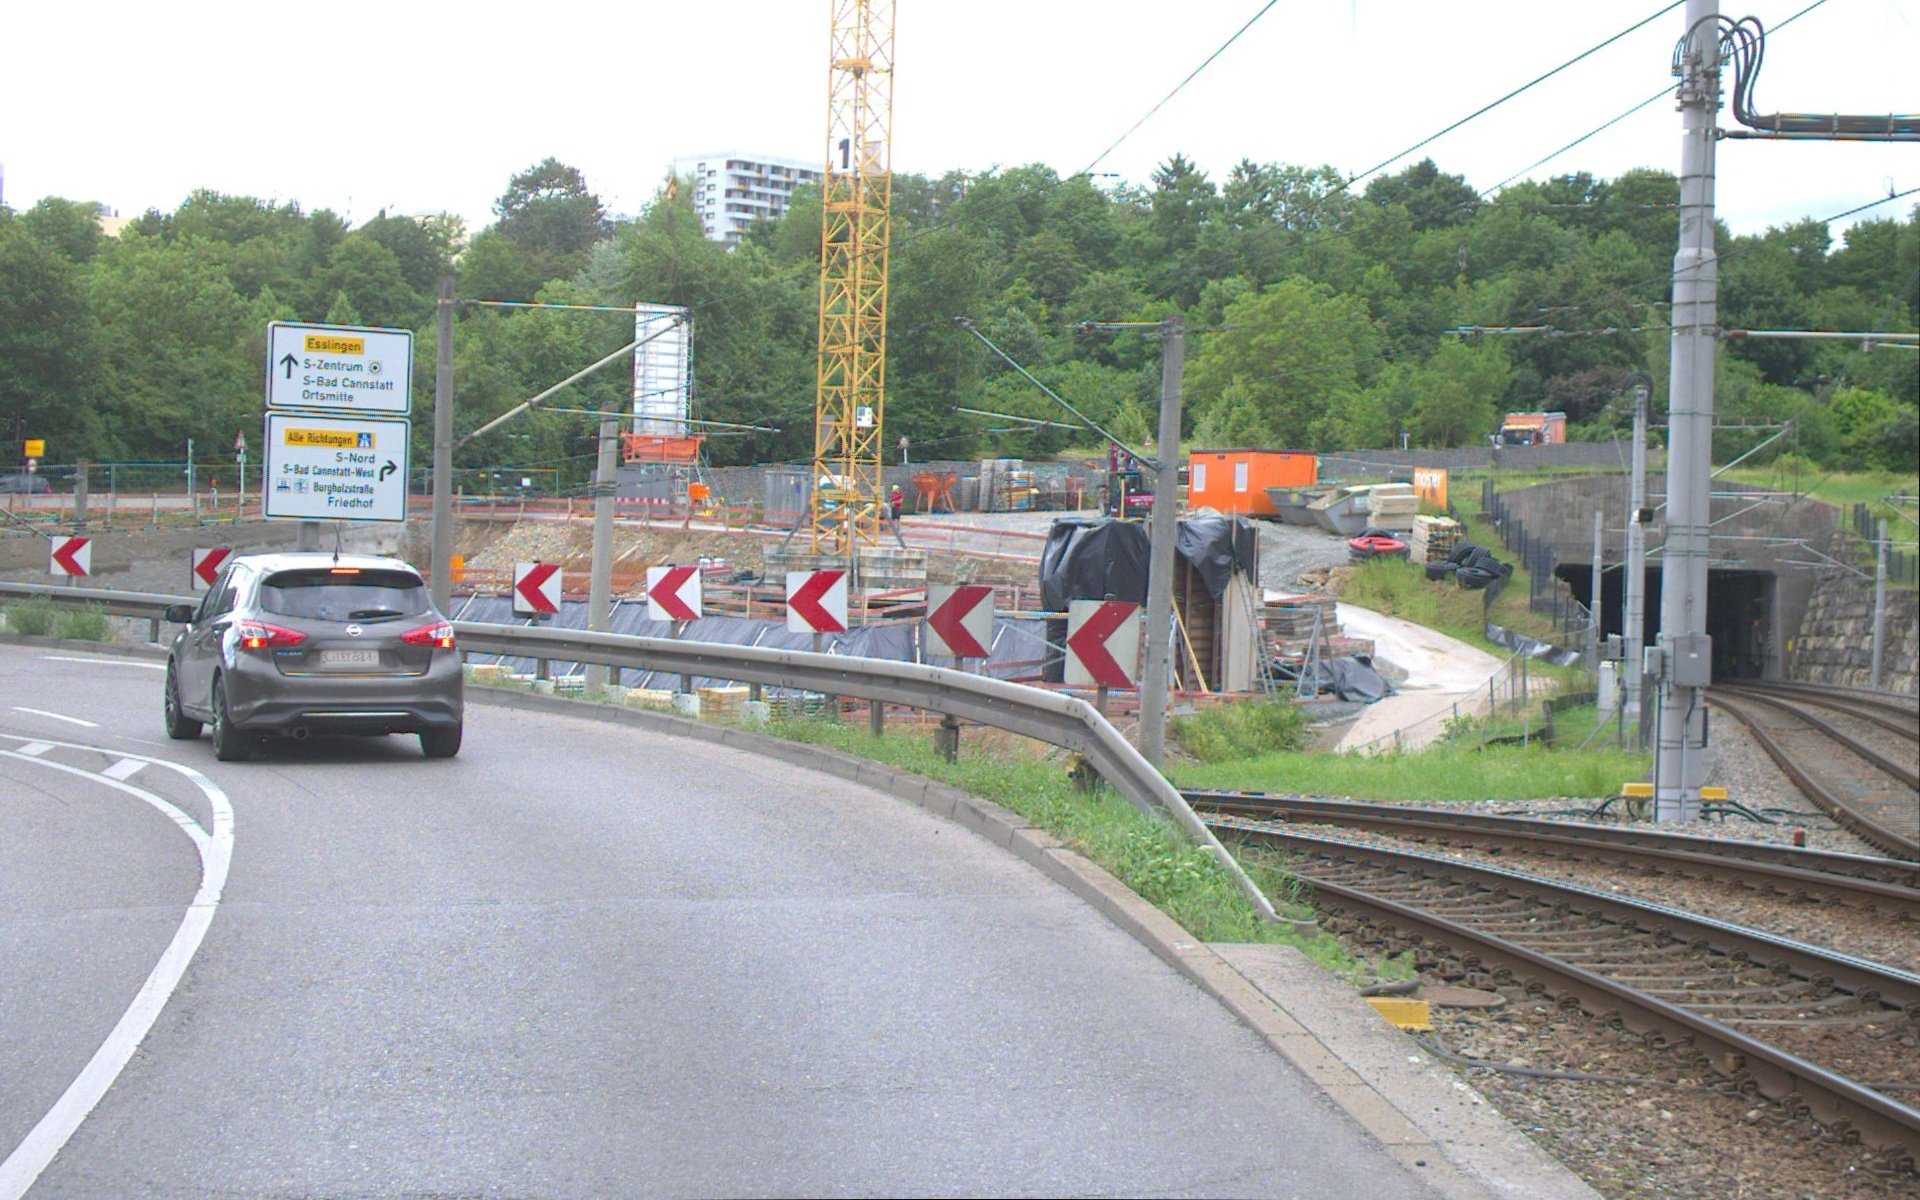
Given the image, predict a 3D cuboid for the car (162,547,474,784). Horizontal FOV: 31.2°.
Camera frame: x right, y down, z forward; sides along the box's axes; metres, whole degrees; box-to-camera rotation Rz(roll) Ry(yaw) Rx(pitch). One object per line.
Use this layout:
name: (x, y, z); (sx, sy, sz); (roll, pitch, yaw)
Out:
car: (-5.012, 0.440, 26.428); (1.797, 1.546, 4.002); (0, 2, -19)

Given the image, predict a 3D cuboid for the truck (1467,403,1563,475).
truck: (34.892, -10.088, 215.921); (3.115, 4.206, 9.780); (2, 2, 26)

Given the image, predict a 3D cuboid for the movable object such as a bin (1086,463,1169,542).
movable object such as a bin: (6.677, -3.866, 137.128); (1.836, 3.066, 2.799); (0, 1, -43)

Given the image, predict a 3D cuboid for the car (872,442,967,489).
car: (-1.866, -6.222, 159.172); (3.988, 2.007, 1.999); (0, 1, -40)
